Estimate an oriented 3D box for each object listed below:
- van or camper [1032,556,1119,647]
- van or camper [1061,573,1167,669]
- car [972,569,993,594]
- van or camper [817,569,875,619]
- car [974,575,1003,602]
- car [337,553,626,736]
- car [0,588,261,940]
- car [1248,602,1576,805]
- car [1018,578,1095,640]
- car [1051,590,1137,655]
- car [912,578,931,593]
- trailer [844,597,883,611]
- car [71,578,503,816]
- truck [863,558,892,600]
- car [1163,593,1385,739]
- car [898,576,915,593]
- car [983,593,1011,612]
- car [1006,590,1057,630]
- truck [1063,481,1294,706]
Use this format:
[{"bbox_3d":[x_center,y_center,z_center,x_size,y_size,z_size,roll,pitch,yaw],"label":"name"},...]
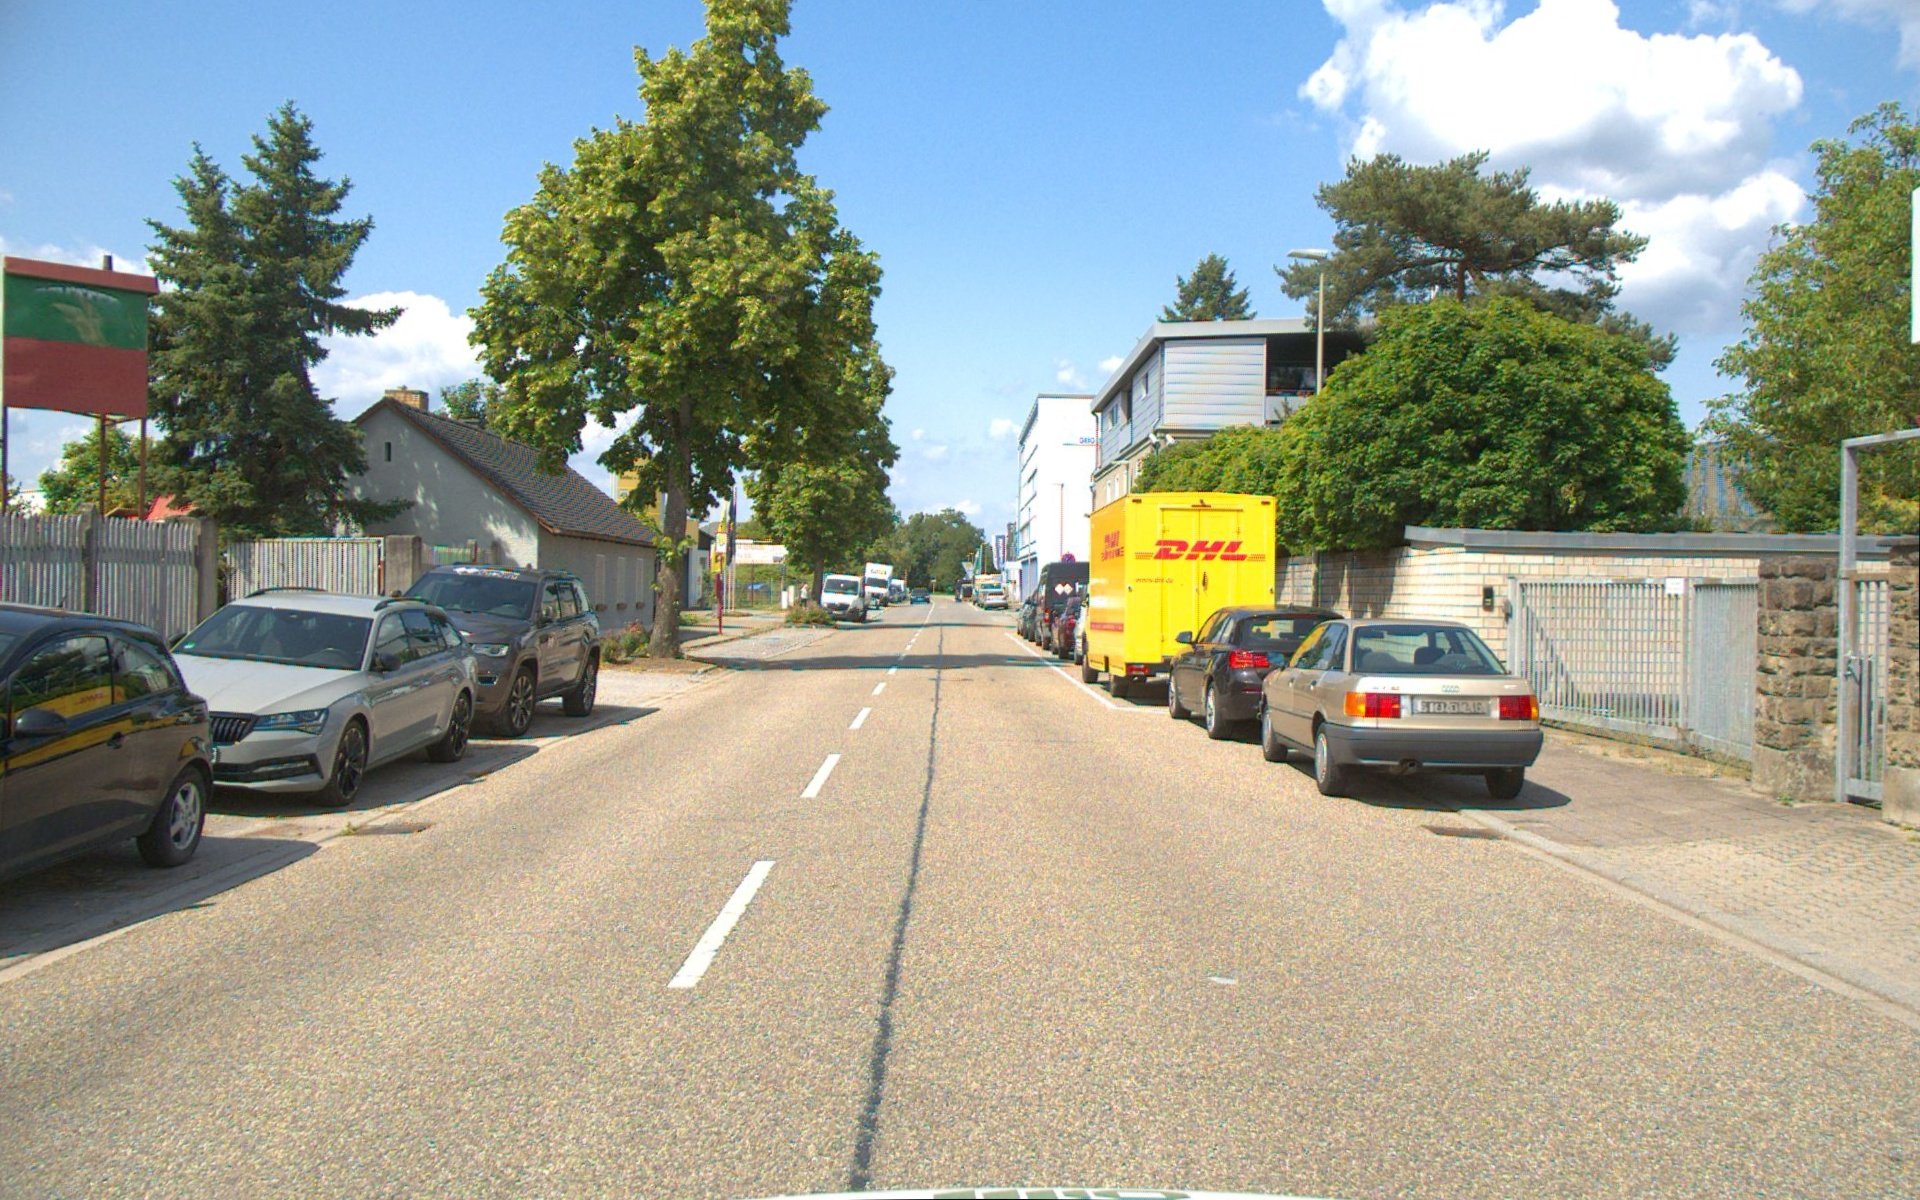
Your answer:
[{"bbox_3d":[3.174,0.016,46.435,1.953,2.331,5.447,2,0,-1],"label":"van or camper"},{"bbox_3d":[3.192,0.393,35.198,1.723,1.837,5.587,1,0,0],"label":"van or camper"},{"bbox_3d":[1.944,-1.577,142.787,1.672,2.126,3.999,0,1,-1],"label":"car"},{"bbox_3d":[-5.858,-0.351,85.887,2.128,2.455,7.700,1,1,3],"label":"van or camper"},{"bbox_3d":[2.274,-0.939,132.039,2.171,2.049,5.485,0,1,0],"label":"car"},{"bbox_3d":[-5.413,0.434,19.422,1.879,1.854,4.786,1,0,1],"label":"car"},{"bbox_3d":[-5.186,0.755,8.350,1.595,1.473,4.026,5,0,-2],"label":"car"},{"bbox_3d":[3.755,0.777,14.538,1.618,1.411,4.422,2,1,0],"label":"car"},{"bbox_3d":[3.000,0.247,52.396,1.921,1.811,4.953,2,1,-2],"label":"car"},{"bbox_3d":[3.207,0.502,40.402,1.647,1.467,4.766,1,0,-1],"label":"car"},{"bbox_3d":[-3.576,-1.325,154.106,1.621,1.348,4.416,0,1,0],"label":"car"},{"bbox_3d":[-6.754,0.266,116.372,2.368,0.827,5.537,3,1,0],"label":"trailer"},{"bbox_3d":[-5.336,0.644,13.881,1.698,1.544,4.742,3,1,-1],"label":"car"},{"bbox_3d":[-6.494,-1.624,130.256,1.988,3.209,6.499,0,1,0],"label":"truck"},{"bbox_3d":[3.505,0.673,19.204,1.628,1.466,4.282,0,1,-2],"label":"car"},{"bbox_3d":[-5.542,-1.616,170.881,1.678,1.679,4.000,0,1,-1],"label":"car"},{"bbox_3d":[2.659,0.166,118.691,1.889,1.333,4.000,0,1,-1],"label":"car"},{"bbox_3d":[2.527,0.327,59.283,1.596,1.377,3.923,0,1,-1],"label":"car"},{"bbox_3d":[3.206,-0.120,26.158,2.424,2.991,7.186,2,0,-2],"label":"truck"}]
